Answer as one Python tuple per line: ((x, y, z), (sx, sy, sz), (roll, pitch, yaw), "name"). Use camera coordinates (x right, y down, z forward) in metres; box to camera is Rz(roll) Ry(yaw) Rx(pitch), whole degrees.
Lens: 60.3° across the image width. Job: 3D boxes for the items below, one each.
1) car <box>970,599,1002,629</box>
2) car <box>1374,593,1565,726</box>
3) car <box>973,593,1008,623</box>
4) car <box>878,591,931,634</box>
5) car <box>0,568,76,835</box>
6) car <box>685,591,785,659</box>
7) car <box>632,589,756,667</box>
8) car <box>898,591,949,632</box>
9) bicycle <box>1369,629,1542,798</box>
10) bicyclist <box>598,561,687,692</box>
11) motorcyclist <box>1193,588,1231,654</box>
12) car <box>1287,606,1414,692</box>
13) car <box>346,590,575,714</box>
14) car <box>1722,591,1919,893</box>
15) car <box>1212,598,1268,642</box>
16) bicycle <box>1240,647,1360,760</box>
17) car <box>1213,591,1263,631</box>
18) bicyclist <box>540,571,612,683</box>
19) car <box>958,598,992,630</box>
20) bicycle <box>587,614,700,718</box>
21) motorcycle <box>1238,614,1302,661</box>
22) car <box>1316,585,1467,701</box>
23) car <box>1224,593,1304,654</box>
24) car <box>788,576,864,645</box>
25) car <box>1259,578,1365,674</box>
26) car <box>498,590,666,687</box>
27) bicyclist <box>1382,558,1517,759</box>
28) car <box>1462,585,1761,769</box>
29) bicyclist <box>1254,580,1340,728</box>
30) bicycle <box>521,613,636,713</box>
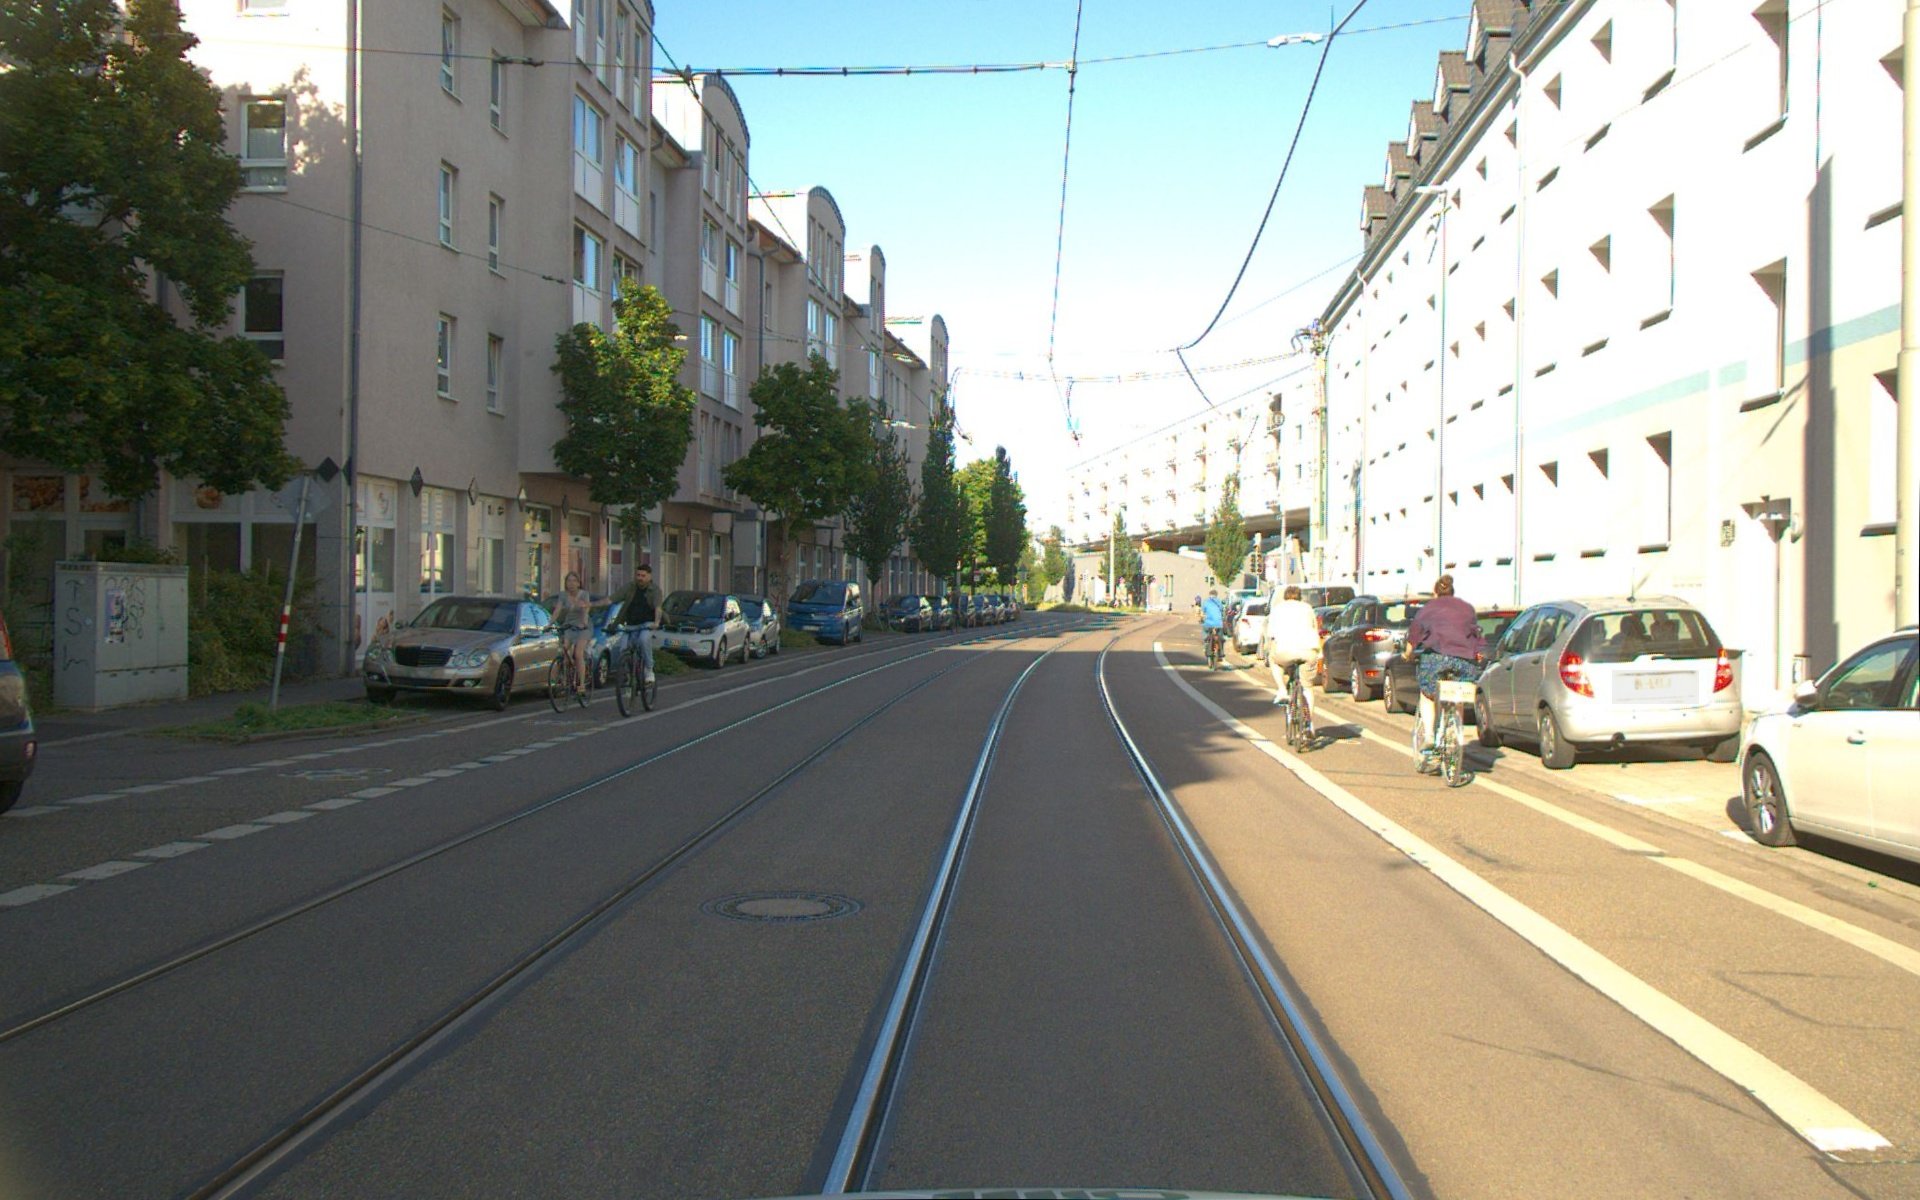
((1.433, 0.719, 89.463), (1.558, 1.567, 3.192), (1, 0, 4), "car")
((6.650, 0.714, 21.973), (1.558, 1.564, 4.009), (-2, 0, 5), "car")
((1.771, 0.434, 95.093), (1.805, 1.674, 3.699), (1, 0, 4), "car")
((-2.205, 0.464, 66.355), (1.630, 1.646, 4.002), (1, 0, 5), "car")
((-7.304, 0.589, 9.924), (3.401, 1.560, 1.563), (0, 0, 16), "car")
((-5.595, 0.585, 41.561), (1.791, 1.621, 4.002), (1, 0, 3), "car")
((-5.831, 0.567, 36.705), (1.791, 1.621, 4.003), (1, 0, 5), "car")
((-1.558, 0.472, 72.025), (1.805, 1.674, 4.551), (1, 0, 4), "car")
((4.327, 0.940, 14.657), (0.804, 1.258, 2.463), (4, 0, 2), "bicycle")
((-4.006, 0.328, 20.924), (0.863, 1.588, 0.868), (-3, 0, 3), "bicyclist")
((5.579, 0.450, 36.604), (0.712, 1.430, 1.021), (1, 0, 2), "motorcyclist")
((7.398, 0.890, 31.665), (1.758, 1.509, 3.780), (1, 0, 4), "car")
((-6.714, 0.634, 22.673), (1.708, 1.468, 4.002), (3, 0, 3), "car")
((5.980, 0.757, 9.125), (1.644, 1.598, 4.511), (-1, 0, 3), "car")
((11.129, 0.781, 66.033), (1.805, 1.674, 3.967), (1, 0, 4), "car")
((3.500, 1.030, 17.266), (0.723, 0.940, 2.837), (4, 0, 2), "bicycle")
((12.820, 0.475, 76.441), (1.805, 1.786, 4.551), (1, 0, 4), "car")
((-5.047, 0.342, 21.775), (0.610, 1.404, 0.868), (-4, 0, 3), "bicyclist")
((0.783, 0.702, 84.851), (1.558, 1.567, 3.192), (1, 0, 4), "car")
((-3.983, 0.806, 21.013), (0.821, 1.169, 2.233), (-4, 0, 3), "bicycle")
((7.957, 0.959, 42.523), (0.487, 1.164, 1.748), (1, 0, -36), "motorcycle")
((7.009, 0.645, 27.221), (1.626, 1.699, 3.906), (-3, 0, 4), "car")
((8.852, 0.655, 48.452), (1.805, 1.674, 4.551), (1, 0, 4), "car")
((-4.084, 0.302, 51.073), (1.630, 2.021, 4.345), (1, 0, 5), "car")
((7.816, 0.531, 37.027), (1.749, 2.005, 4.157), (-1, 0, 4), "car")
((-6.478, 0.613, 28.774), (1.791, 1.515, 4.002), (-1, 0, 3), "car")
((4.296, 0.494, 14.587), (0.915, 1.705, 0.970), (1, 0, 2), "bicyclist")
((6.514, 0.691, 16.992), (1.717, 1.598, 3.906), (-3, 0, 4), "car")
((3.491, 0.539, 17.205), (0.712, 1.487, 1.021), (1, 0, 2), "bicyclist")
((-4.985, 0.793, 21.755), (0.821, 1.169, 2.233), (-4, 0, 3), "bicycle")
